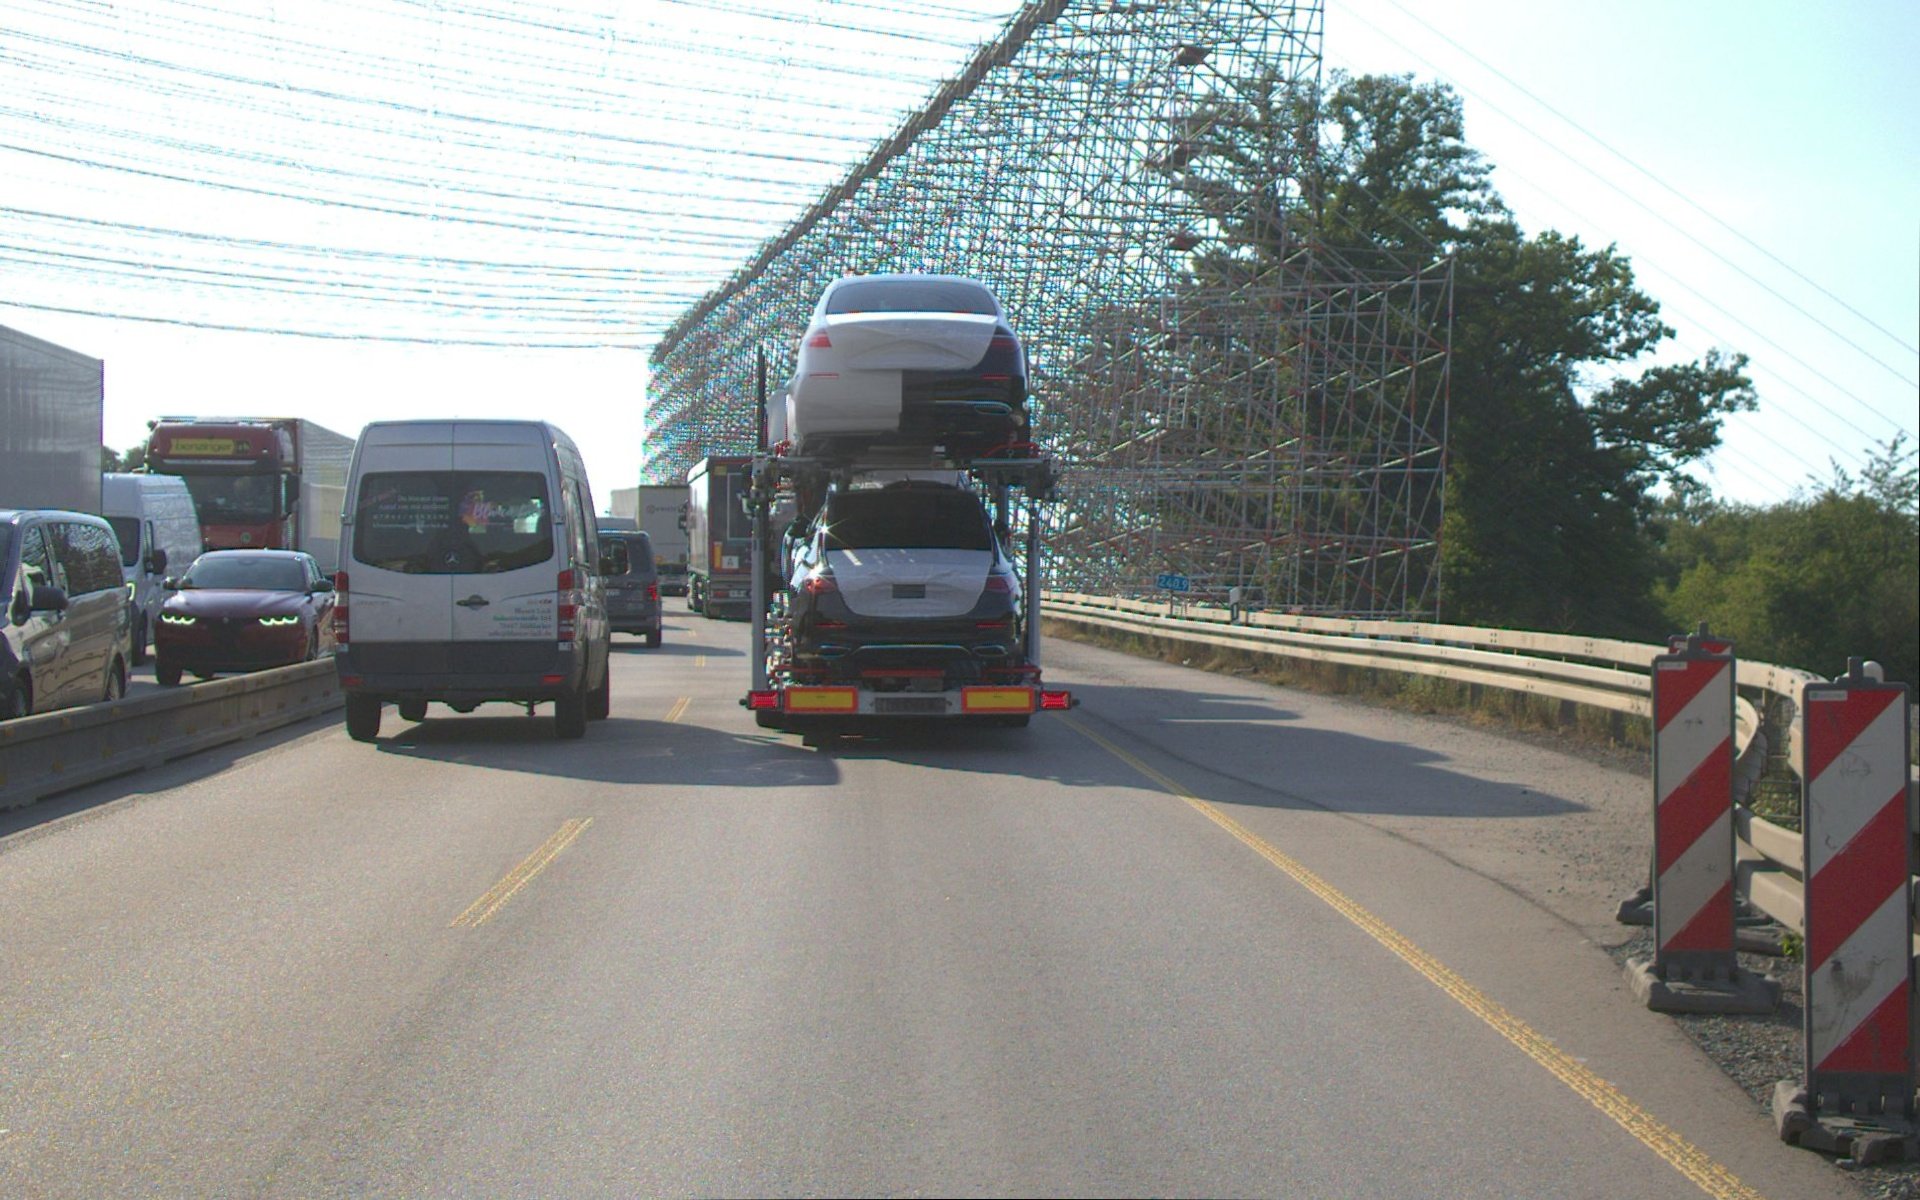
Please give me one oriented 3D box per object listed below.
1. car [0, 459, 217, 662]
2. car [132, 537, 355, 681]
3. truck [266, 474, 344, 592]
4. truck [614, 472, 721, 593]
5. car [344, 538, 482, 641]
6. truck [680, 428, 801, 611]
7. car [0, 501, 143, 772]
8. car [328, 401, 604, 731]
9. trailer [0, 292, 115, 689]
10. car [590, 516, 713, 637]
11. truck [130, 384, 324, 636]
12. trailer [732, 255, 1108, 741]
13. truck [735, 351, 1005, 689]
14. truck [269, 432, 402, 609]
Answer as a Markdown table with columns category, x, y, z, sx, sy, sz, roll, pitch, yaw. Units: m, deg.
| category | x | y | z | sx | sy | sz | roll | pitch | yaw |
| --- | --- | --- | --- | --- | --- | --- | --- | --- | --- |
| car | -12.330 | -0.637 | 49.657 | 2.021 | 2.680 | 6.950 | 1 | 2 | -3 |
| car | -8.553 | 0.059 | 41.385 | 1.887 | 1.563 | 4.456 | 1 | 1 | -2 |
| truck | -24.136 | -2.449 | 126.470 | 2.661 | 4.215 | 6.106 | 0 | 1 | -12 |
| truck | -11.127 | -2.591 | 131.107 | 3.686 | 4.206 | 13.671 | -2 | 1 | -5 |
| car | -9.491 | -0.218 | 59.966 | 1.869 | 1.583 | 4.804 | 2 | 2 | -4 |
| truck | -5.562 | -2.055 | 88.835 | 2.732 | 4.370 | 11.523 | 1 | 1 | -2 |
| car | -7.497 | 0.166 | 25.731 | 1.804 | 1.766 | 5.454 | 1 | 2 | -4 |
| car | -4.125 | -0.282 | 29.267 | 1.956 | 2.612 | 4.000 | 0 | 0 | -3 |
| trailer | -11.545 | -1.167 | 36.322 | 2.720 | 4.203 | 13.751 | 0 | 1 | -4 |
| car | -5.345 | -0.403 | 59.980 | 1.993 | 2.007 | 4.001 | 1 | 0 | -4 |
| truck | -13.121 | -1.571 | 61.940 | 2.744 | 4.285 | 5.935 | 0 | 1 | -6 |
| trailer | -0.753 | -0.856 | 33.866 | 2.868 | 3.712 | 14.949 | 0 | 1 | -3 |
| truck | -1.223 | -0.912 | 41.440 | 2.881 | 3.690 | 7.326 | 0 | 1 | -4 |
| truck | -15.118 | -1.895 | 83.560 | 2.787 | 4.127 | 5.935 | 0 | 1 | -7 |
